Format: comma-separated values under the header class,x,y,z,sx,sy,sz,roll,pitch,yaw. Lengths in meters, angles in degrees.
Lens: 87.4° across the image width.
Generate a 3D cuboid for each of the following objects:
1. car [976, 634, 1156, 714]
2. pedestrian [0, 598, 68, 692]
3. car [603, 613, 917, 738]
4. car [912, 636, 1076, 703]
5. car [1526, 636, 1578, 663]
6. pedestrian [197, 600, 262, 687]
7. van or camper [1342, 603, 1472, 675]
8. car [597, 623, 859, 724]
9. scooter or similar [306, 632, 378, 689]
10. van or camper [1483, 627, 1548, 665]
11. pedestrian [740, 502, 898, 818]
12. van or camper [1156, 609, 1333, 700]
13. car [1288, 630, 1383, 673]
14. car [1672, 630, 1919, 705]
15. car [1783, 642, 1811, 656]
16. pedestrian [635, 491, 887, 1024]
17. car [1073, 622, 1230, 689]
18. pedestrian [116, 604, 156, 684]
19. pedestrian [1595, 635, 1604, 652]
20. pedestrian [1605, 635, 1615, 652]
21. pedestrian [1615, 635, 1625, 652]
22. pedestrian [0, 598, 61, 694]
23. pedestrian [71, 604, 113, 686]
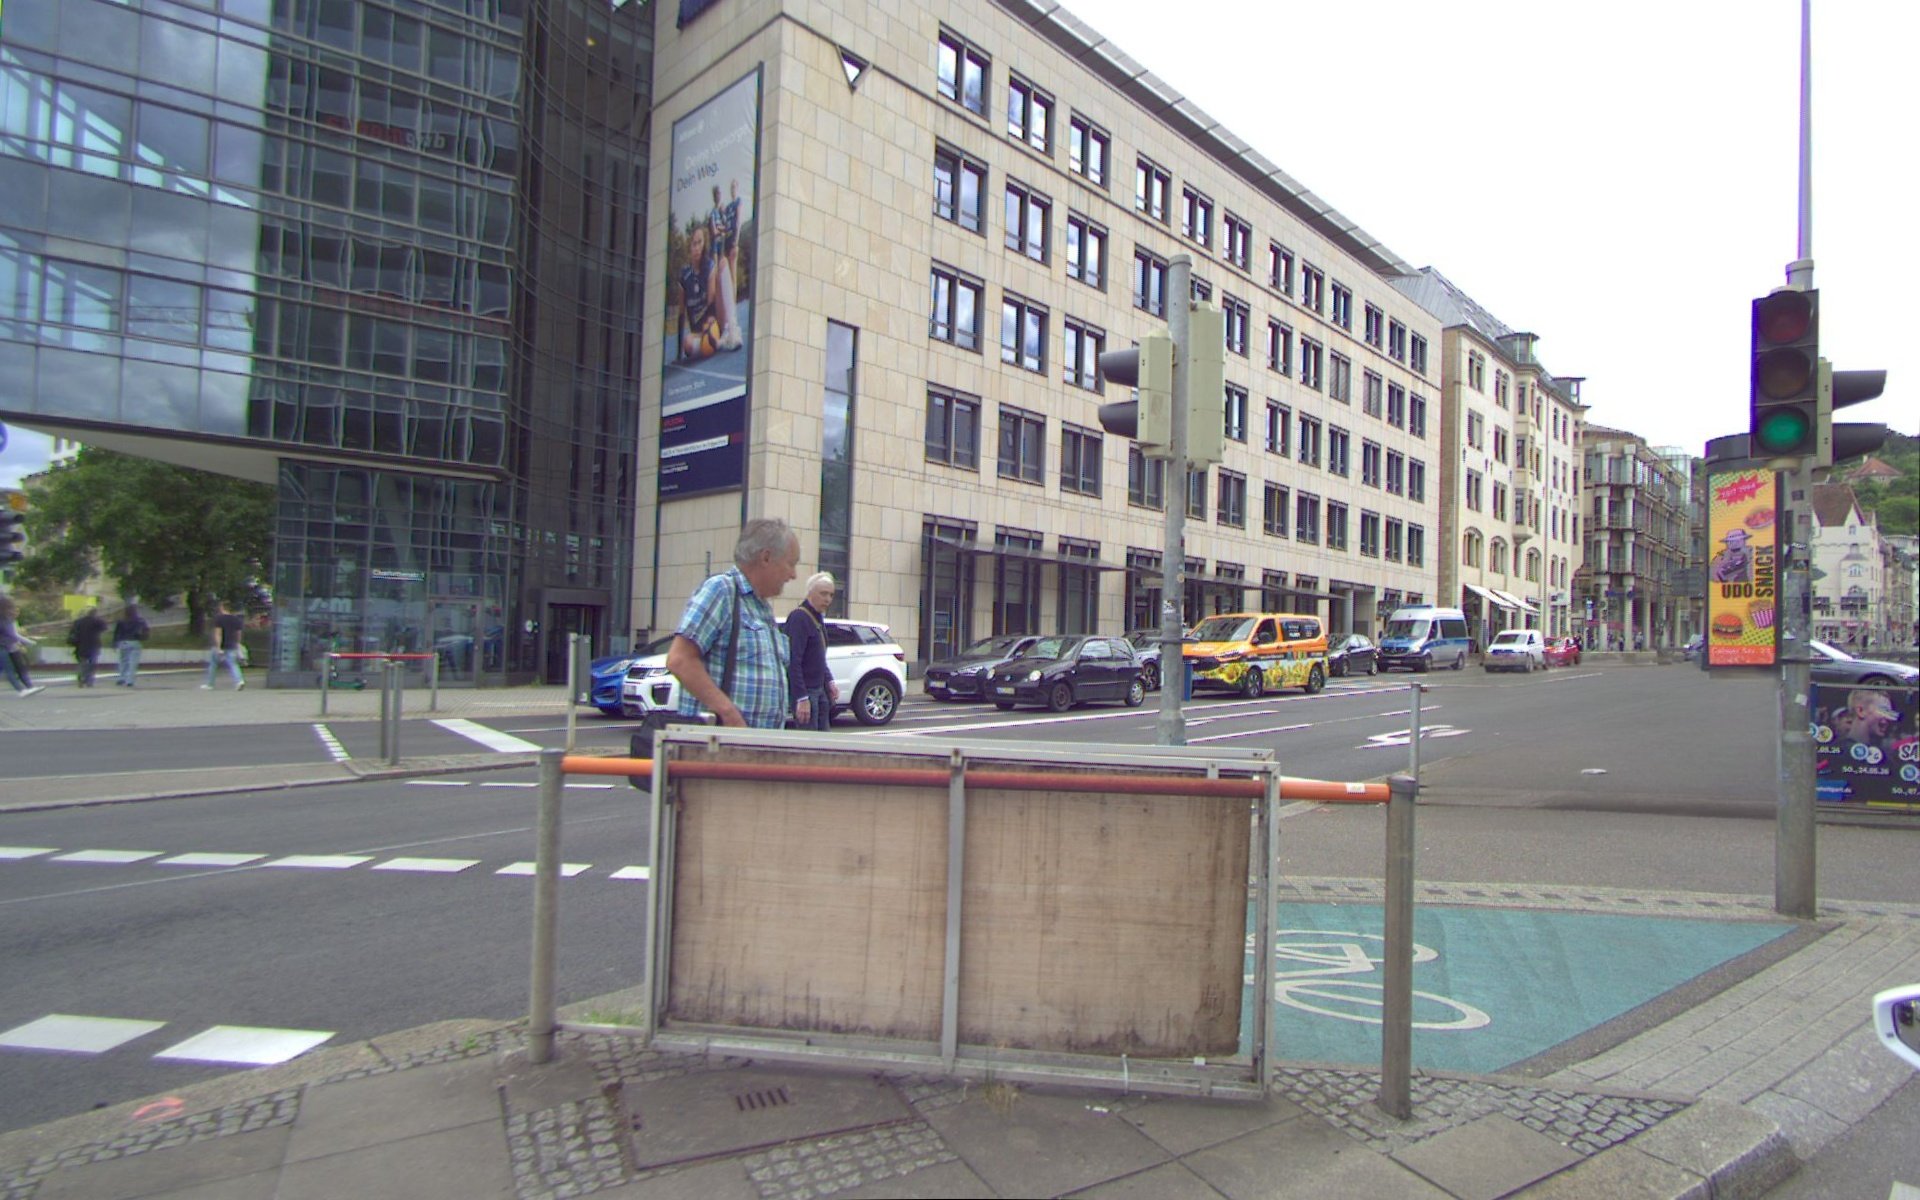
class,x,y,z,sx,sy,sz,roll,pitch,yaw
car,2.116,1.378,19.472,3.609,1.397,1.541,2,-3,-44
pedestrian,-17.155,0.827,18.539,0.775,1.652,0.602,4,0,-22
car,-2.875,1.056,14.976,4.281,1.619,1.721,2,-2,-38
car,0.806,1.480,22.071,3.609,1.359,1.541,2,-3,-44
car,32.788,2.699,55.635,1.768,1.424,3.562,0,-2,43
pedestrian,-15.690,0.926,21.588,0.914,1.834,0.697,0,-1,20
van or camper,18.745,1.597,41.928,2.971,2.762,6.207,0,-2,45
car,-3.984,1.216,17.652,4.064,1.545,1.974,2,-2,-44
scooter or similar,-13.637,1.322,22.161,1.358,1.224,0.534,1,-1,14
van or camper,28.203,2.316,50.965,1.848,1.775,4.461,0,-1,43
pedestrian,-1.047,0.430,7.555,0.863,2.201,0.762,0,-2,27
van or camper,6.893,1.285,24.000,1.893,1.947,5.052,-2,-3,44
car,13.612,1.867,36.319,1.751,1.467,4.005,-3,-4,44
car,19.474,1.486,23.271,1.864,1.478,4.518,2,-2,-36
car,98.358,5.748,118.036,4.853,1.606,1.975,4,-3,-43
pedestrian,-0.785,0.554,3.914,0.708,1.813,0.630,-5,-4,45
car,5.297,1.493,27.378,1.973,1.667,4.654,-2,-3,44
pedestrian,-18.114,0.955,22.076,0.627,1.723,0.636,2,-2,-41
pedestrian,59.271,4.001,93.084,0.691,1.564,0.844,0,-1,37
pedestrian,59.927,3.985,92.602,0.691,1.564,0.844,0,-1,37
pedestrian,60.471,3.975,92.047,0.691,1.564,0.844,0,-1,37
pedestrian,-16.658,0.805,17.698,0.952,1.634,0.651,4,-2,-22
pedestrian,-18.644,0.956,21.588,0.627,1.723,0.760,2,-2,-41
